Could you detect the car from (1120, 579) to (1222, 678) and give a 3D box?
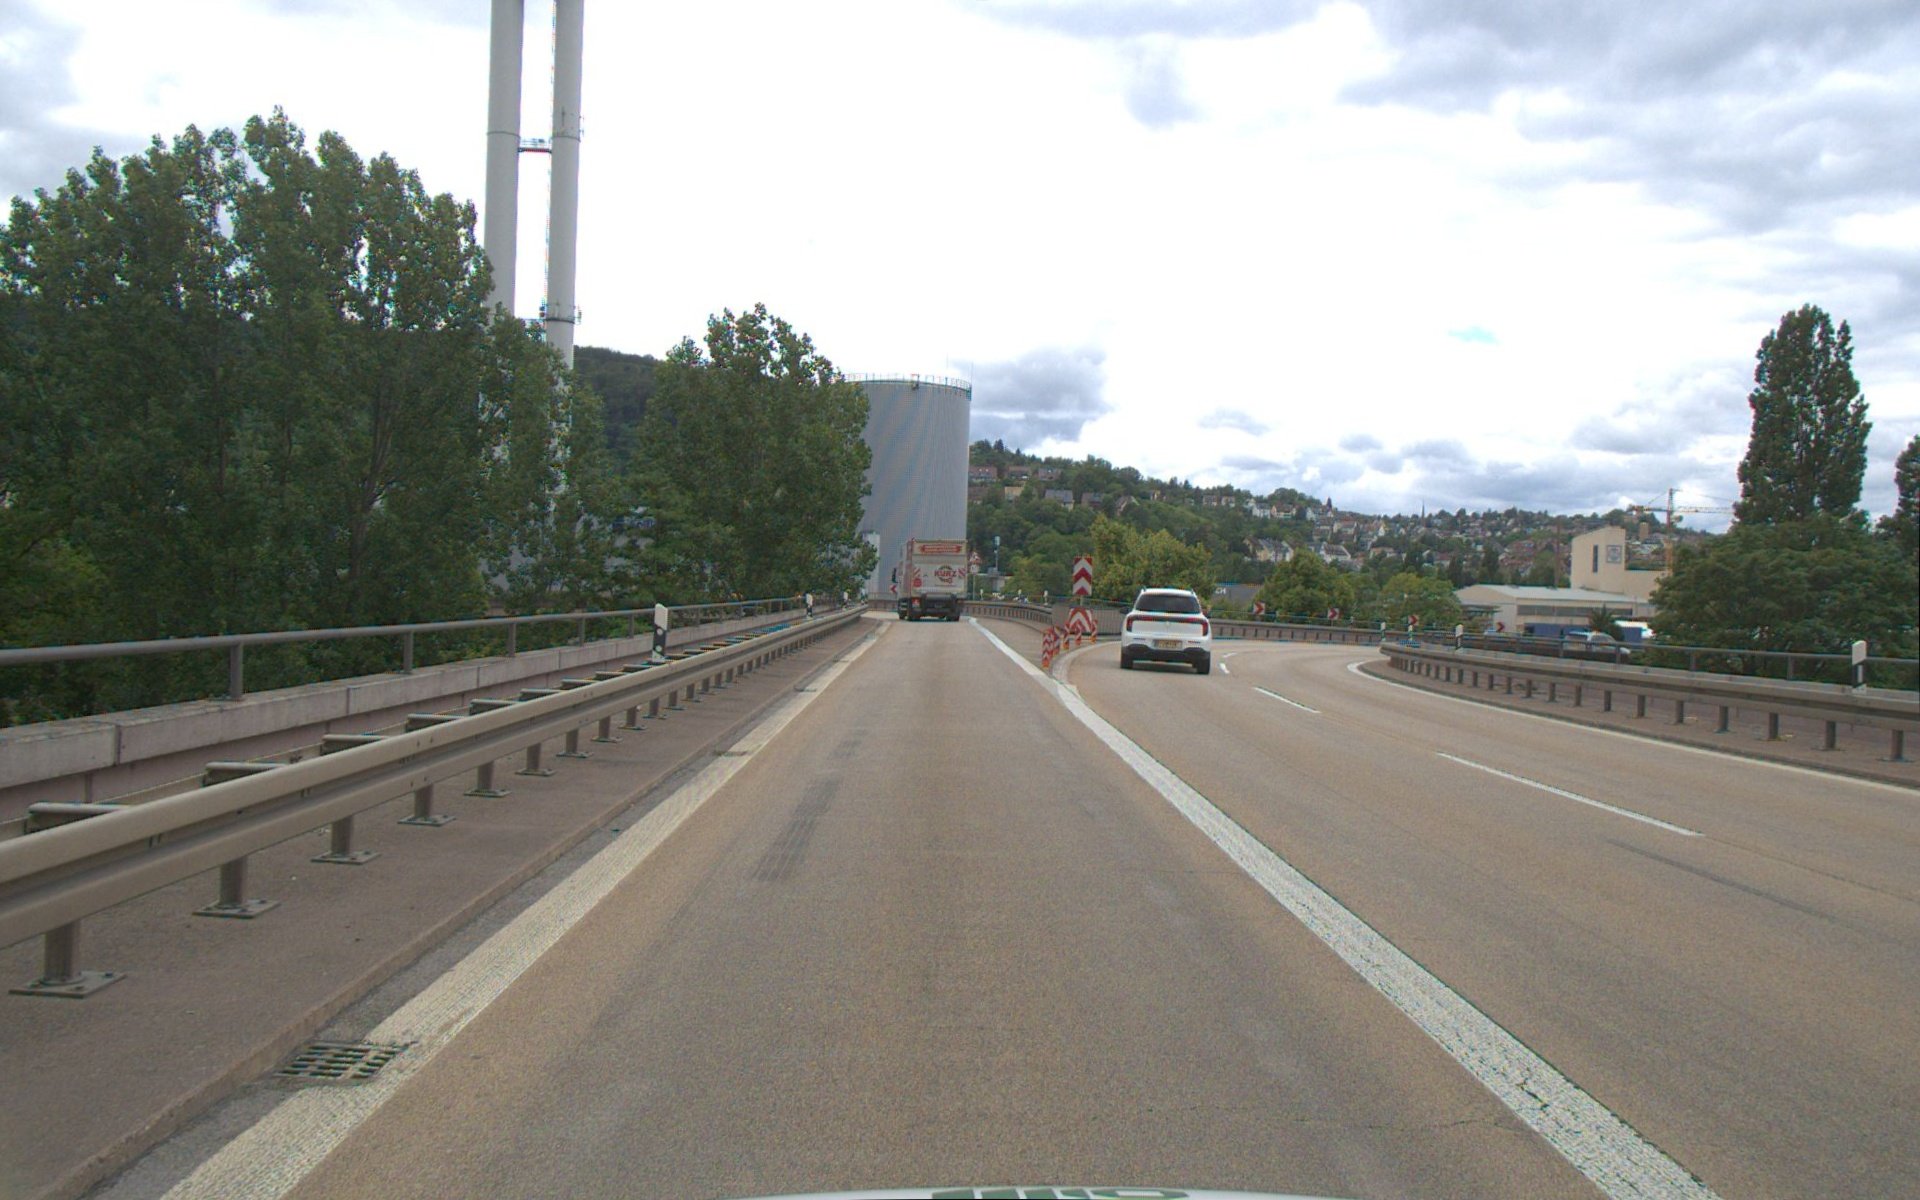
[{"bbox_3d":[4.415,0.543,34.889,1.883,1.816,4.116,4,1,6],"label":"car"}]

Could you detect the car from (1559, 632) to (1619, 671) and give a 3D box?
[{"bbox_3d":[32.290,2.625,84.810,1.892,1.816,4.097,1,1,36],"label":"car"}]

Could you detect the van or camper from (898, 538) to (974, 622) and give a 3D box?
[{"bbox_3d":[-1.203,-0.889,76.693,3.060,3.641,8.543,0,0,-4],"label":"van or camper"}]
